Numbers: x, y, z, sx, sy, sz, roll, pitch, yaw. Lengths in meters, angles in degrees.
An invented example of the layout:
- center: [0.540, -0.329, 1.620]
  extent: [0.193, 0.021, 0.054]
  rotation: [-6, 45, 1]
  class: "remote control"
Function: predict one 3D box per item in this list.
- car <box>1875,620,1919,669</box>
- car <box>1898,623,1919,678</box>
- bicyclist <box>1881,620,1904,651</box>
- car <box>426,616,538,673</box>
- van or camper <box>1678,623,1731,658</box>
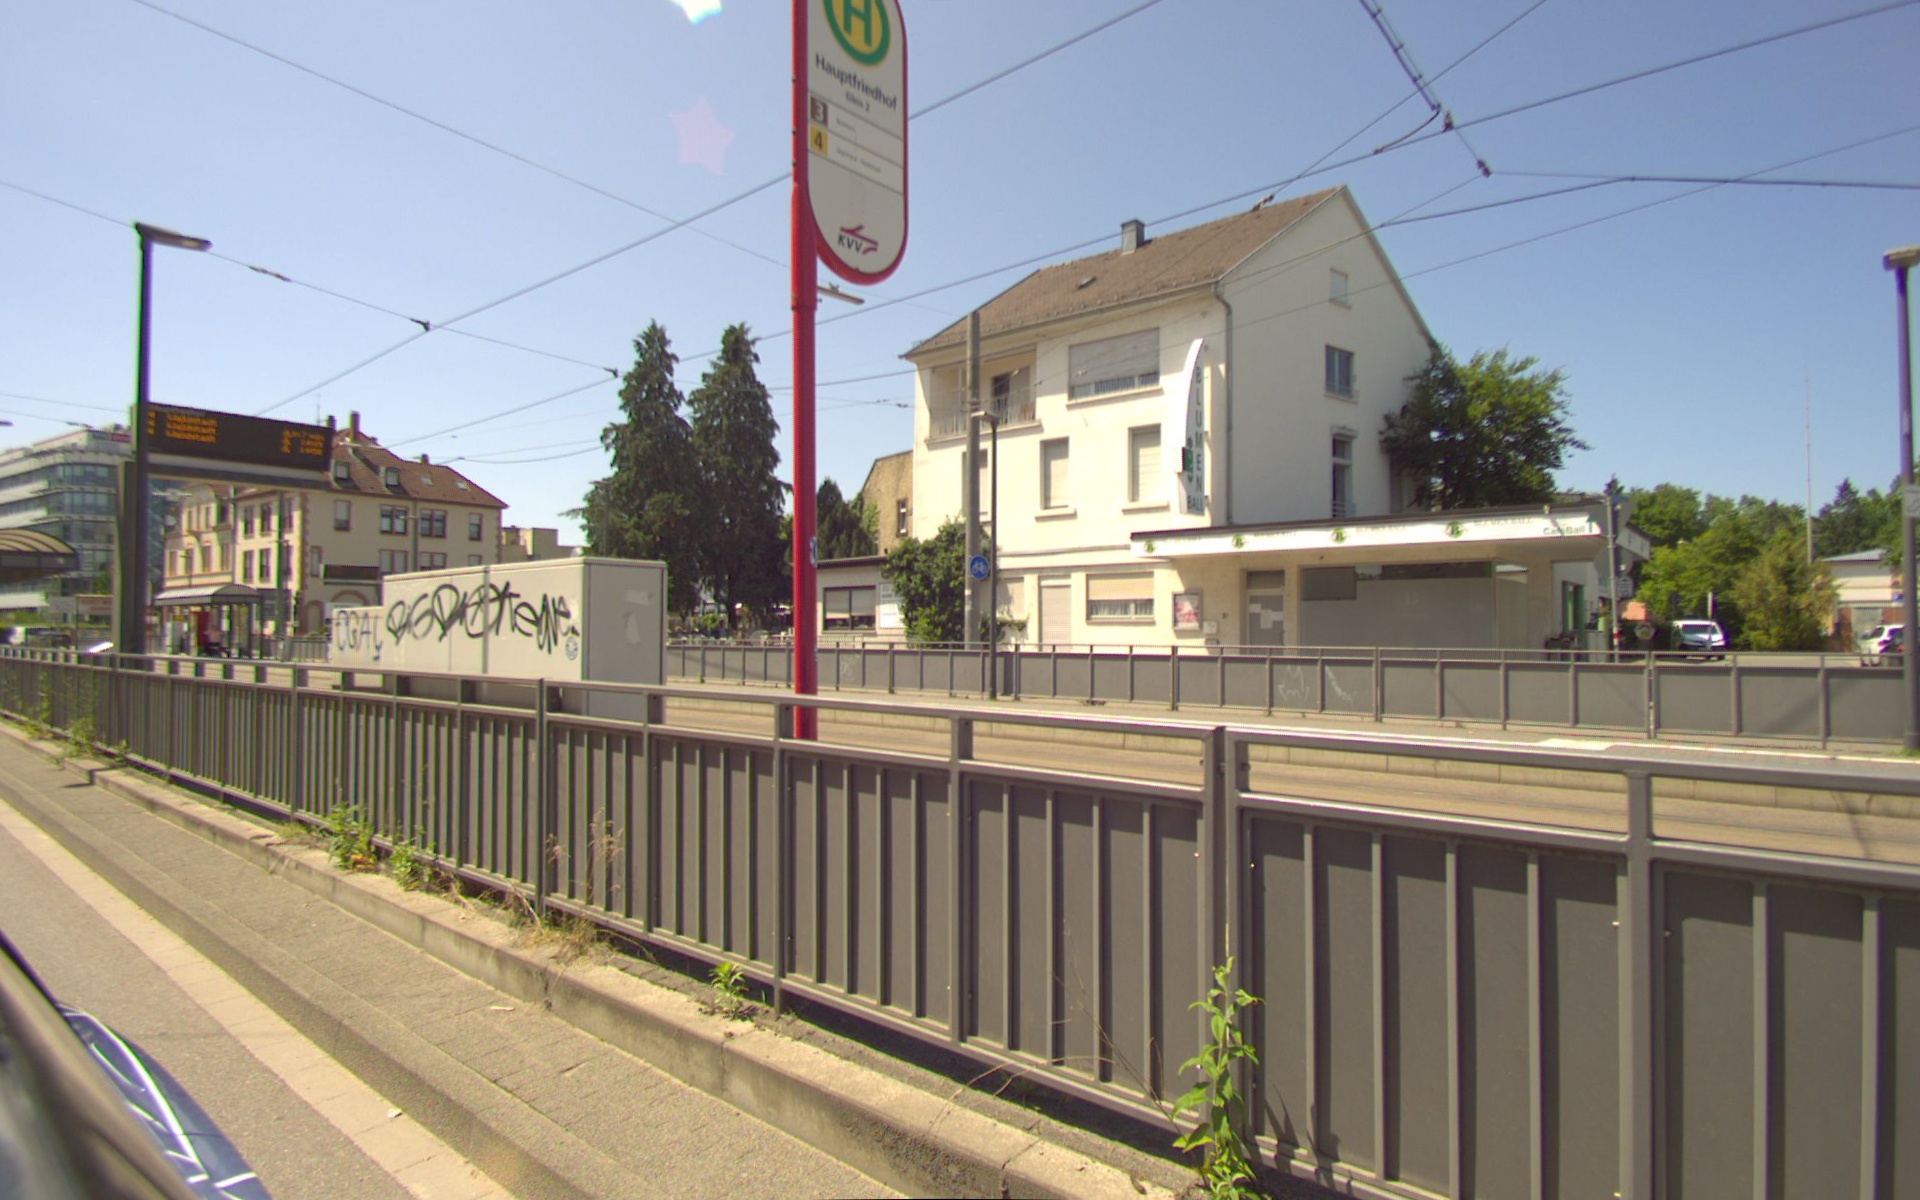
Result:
- center: [29.622, 1.404, 31.435]
  extent: [1.644, 1.457, 3.761]
  rotation: [-2, -3, 41]
  class: "car"
- center: [25.852, 1.335, 26.577]
  extent: [1.644, 1.381, 3.760]
  rotation: [-2, -3, 42]
  class: "car"
- center: [43.271, 1.651, 46.967]
  extent: [0.619, 1.446, 0.525]
  rotation: [-1, -2, 23]
  class: "bicyclist"
- center: [-16.539, 1.505, 34.997]
  extent: [3.996, 1.852, 1.974]
  rotation: [-2, -2, 39]
  class: "car"
- center: [35.030, 1.886, 47.691]
  extent: [1.686, 1.578, 3.784]
  rotation: [-1, -2, 32]
  class: "van or camper"
